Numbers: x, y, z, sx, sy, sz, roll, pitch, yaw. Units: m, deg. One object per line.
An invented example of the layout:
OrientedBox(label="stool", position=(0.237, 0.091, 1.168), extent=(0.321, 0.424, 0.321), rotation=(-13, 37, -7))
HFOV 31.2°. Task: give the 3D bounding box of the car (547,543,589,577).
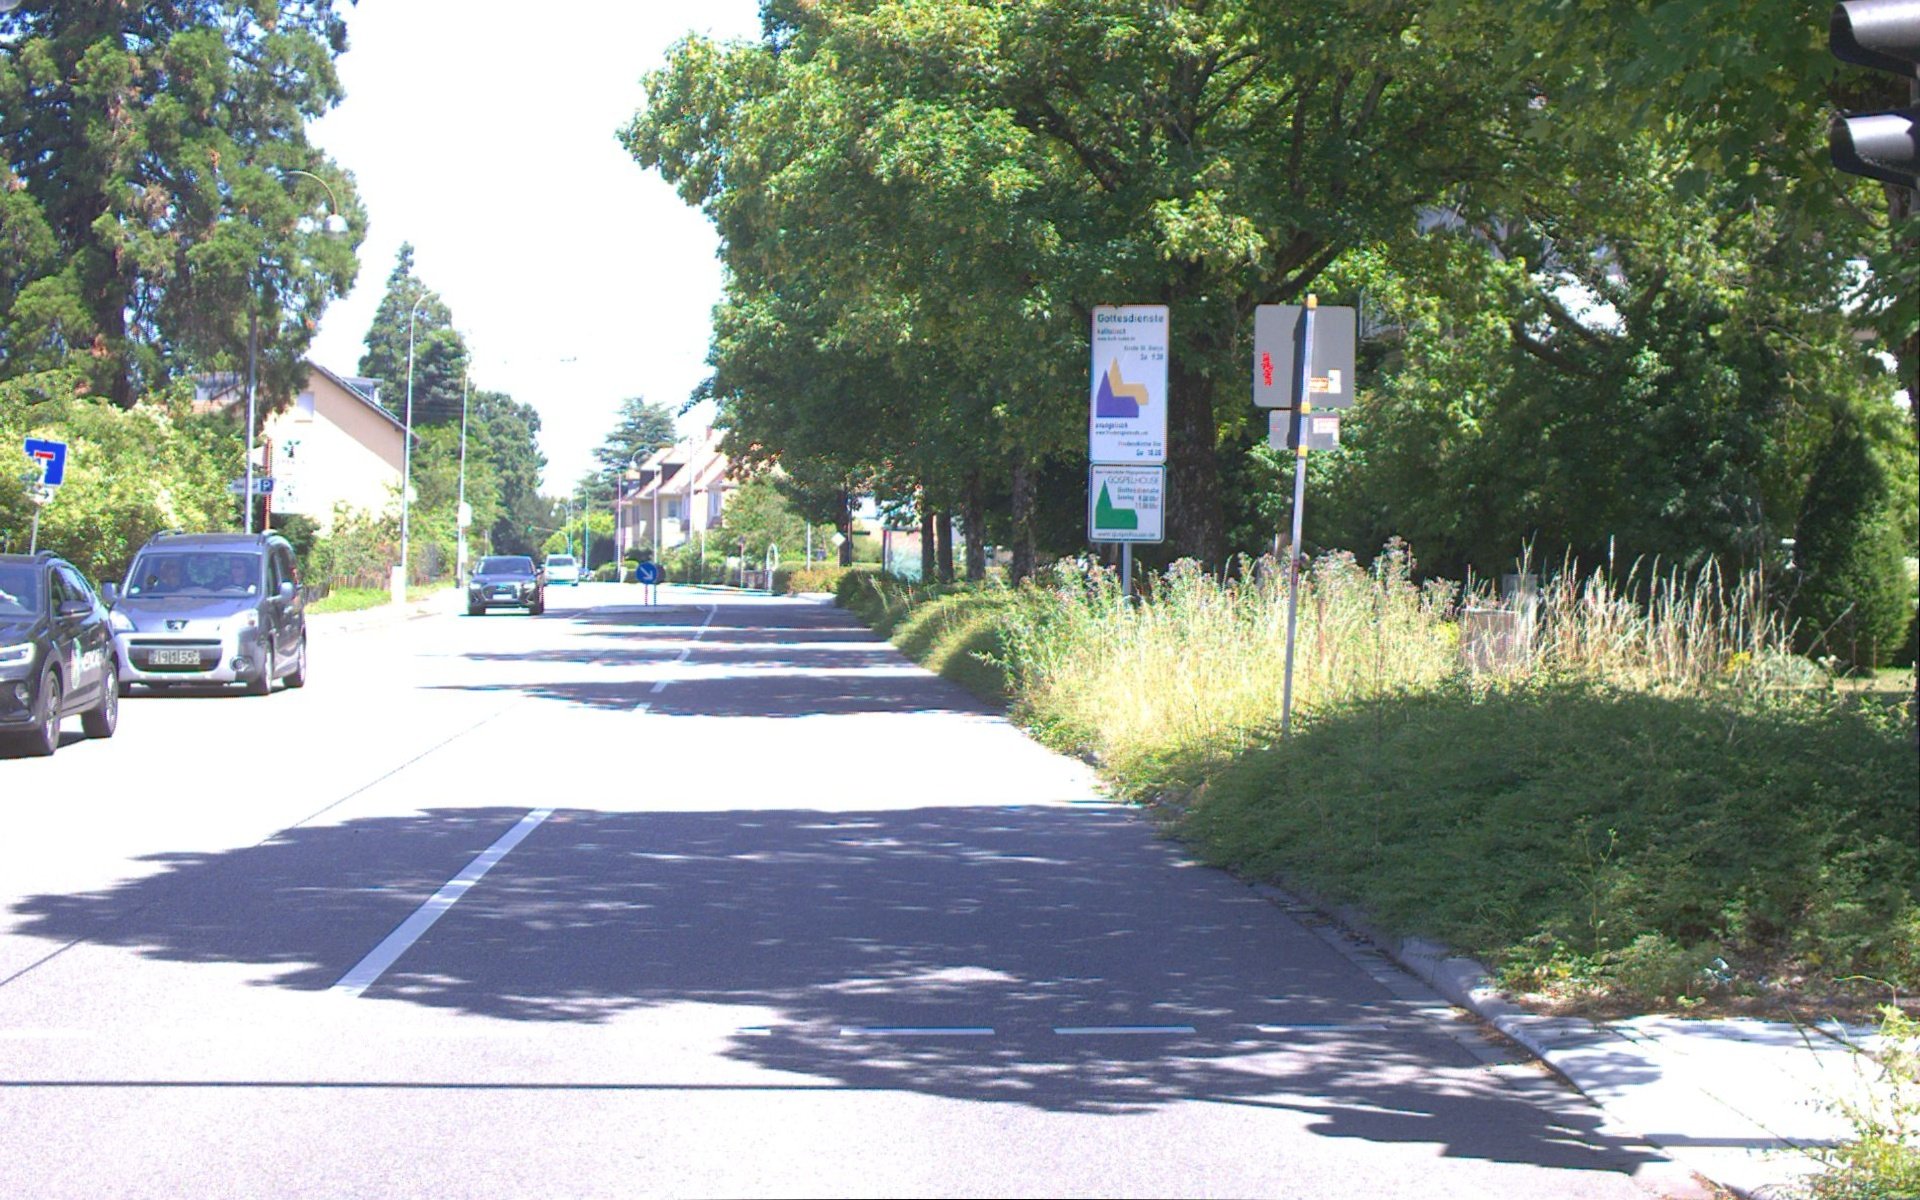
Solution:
OrientedBox(label="car", position=(-20.175, -2.057, 177.103), extent=(1.912, 1.683, 4.126), rotation=(1, 1, -4))

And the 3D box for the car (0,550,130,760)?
OrientedBox(label="car", position=(-7.689, 0.362, 26.560), extent=(1.869, 1.501, 4.053), rotation=(0, 1, -5))

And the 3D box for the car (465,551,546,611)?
OrientedBox(label="car", position=(-12.101, -0.522, 91.735), extent=(1.793, 1.531, 4.316), rotation=(0, 1, -3))

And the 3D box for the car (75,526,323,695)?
OrientedBox(label="car", position=(-8.365, 0.079, 38.154), extent=(1.811, 1.756, 4.570), rotation=(0, 1, -1))
